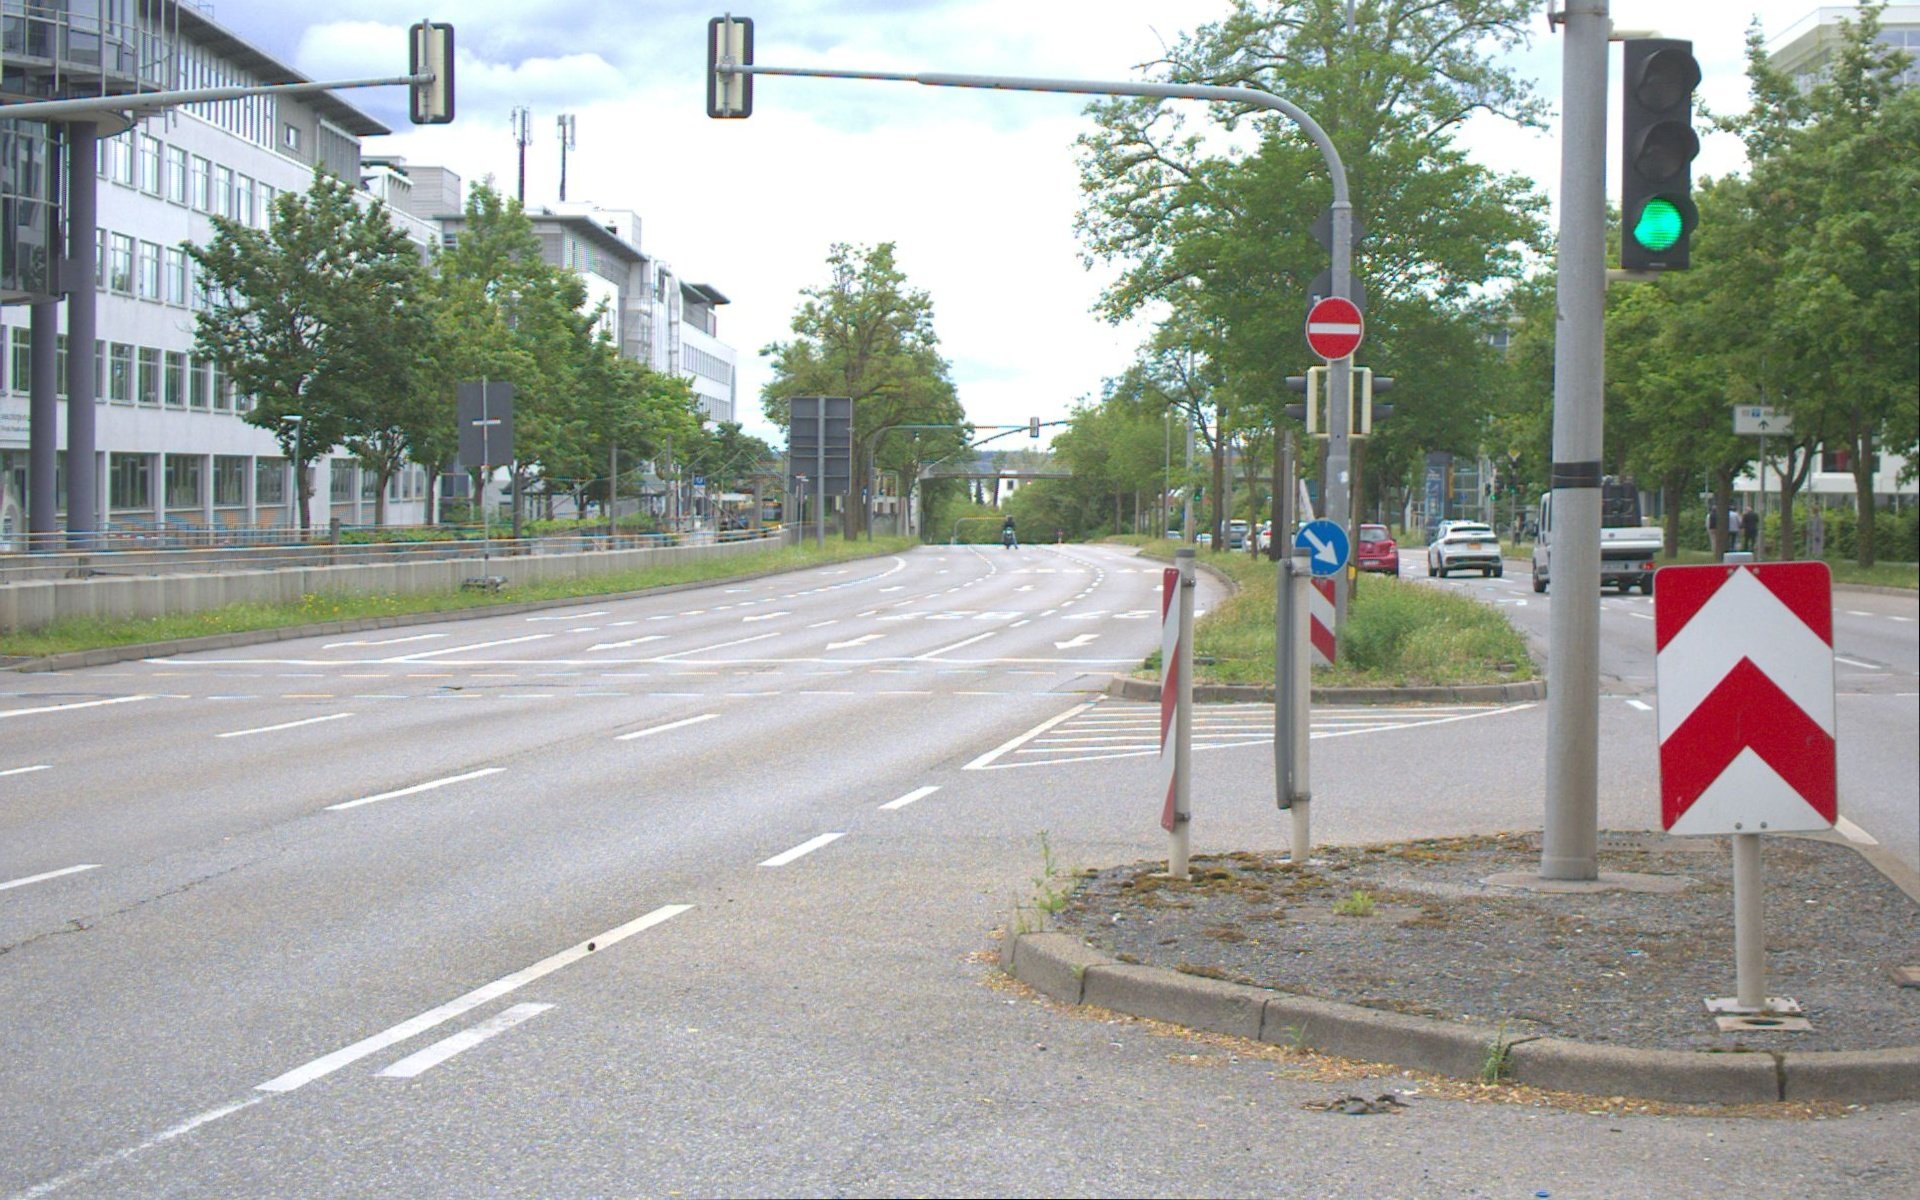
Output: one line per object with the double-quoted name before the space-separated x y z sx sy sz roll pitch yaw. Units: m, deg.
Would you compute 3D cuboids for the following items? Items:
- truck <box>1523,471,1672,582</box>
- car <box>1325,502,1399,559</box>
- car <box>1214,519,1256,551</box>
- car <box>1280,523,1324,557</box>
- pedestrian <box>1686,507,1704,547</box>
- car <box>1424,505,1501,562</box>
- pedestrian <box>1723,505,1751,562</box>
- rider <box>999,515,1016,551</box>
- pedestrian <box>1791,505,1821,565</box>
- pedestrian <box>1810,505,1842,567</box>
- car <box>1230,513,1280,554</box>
"truck" 13.245 -1.537 71.772 2.211 2.196 5.844 0 1 2
"car" 11.165 -1.924 95.633 1.716 1.553 3.858 -1 1 2
"car" 13.906 -3.308 174.207 1.891 1.590 4.314 1 1 2
"car" 16.417 -2.897 165.077 1.855 1.590 4.313 0 1 3
"pedestrian" 28.814 -2.872 134.724 0.561 1.553 0.556 0 0 -1
"car" 13.956 -1.846 95.669 1.716 1.550 4.089 0 1 2
"pedestrian" 27.485 -2.357 121.594 0.762 2.007 0.754 0 1 -4
"rider" 2.371 -3.339 171.276 0.846 1.765 0.808 0 0 3
"pedestrian" 28.260 -2.174 114.836 0.762 2.007 0.754 0 0 -4
"pedestrian" 28.280 -2.088 112.235 0.848 2.007 0.605 0 1 -4
"car" 11.561 -2.608 135.014 1.855 1.590 4.313 0 1 4
